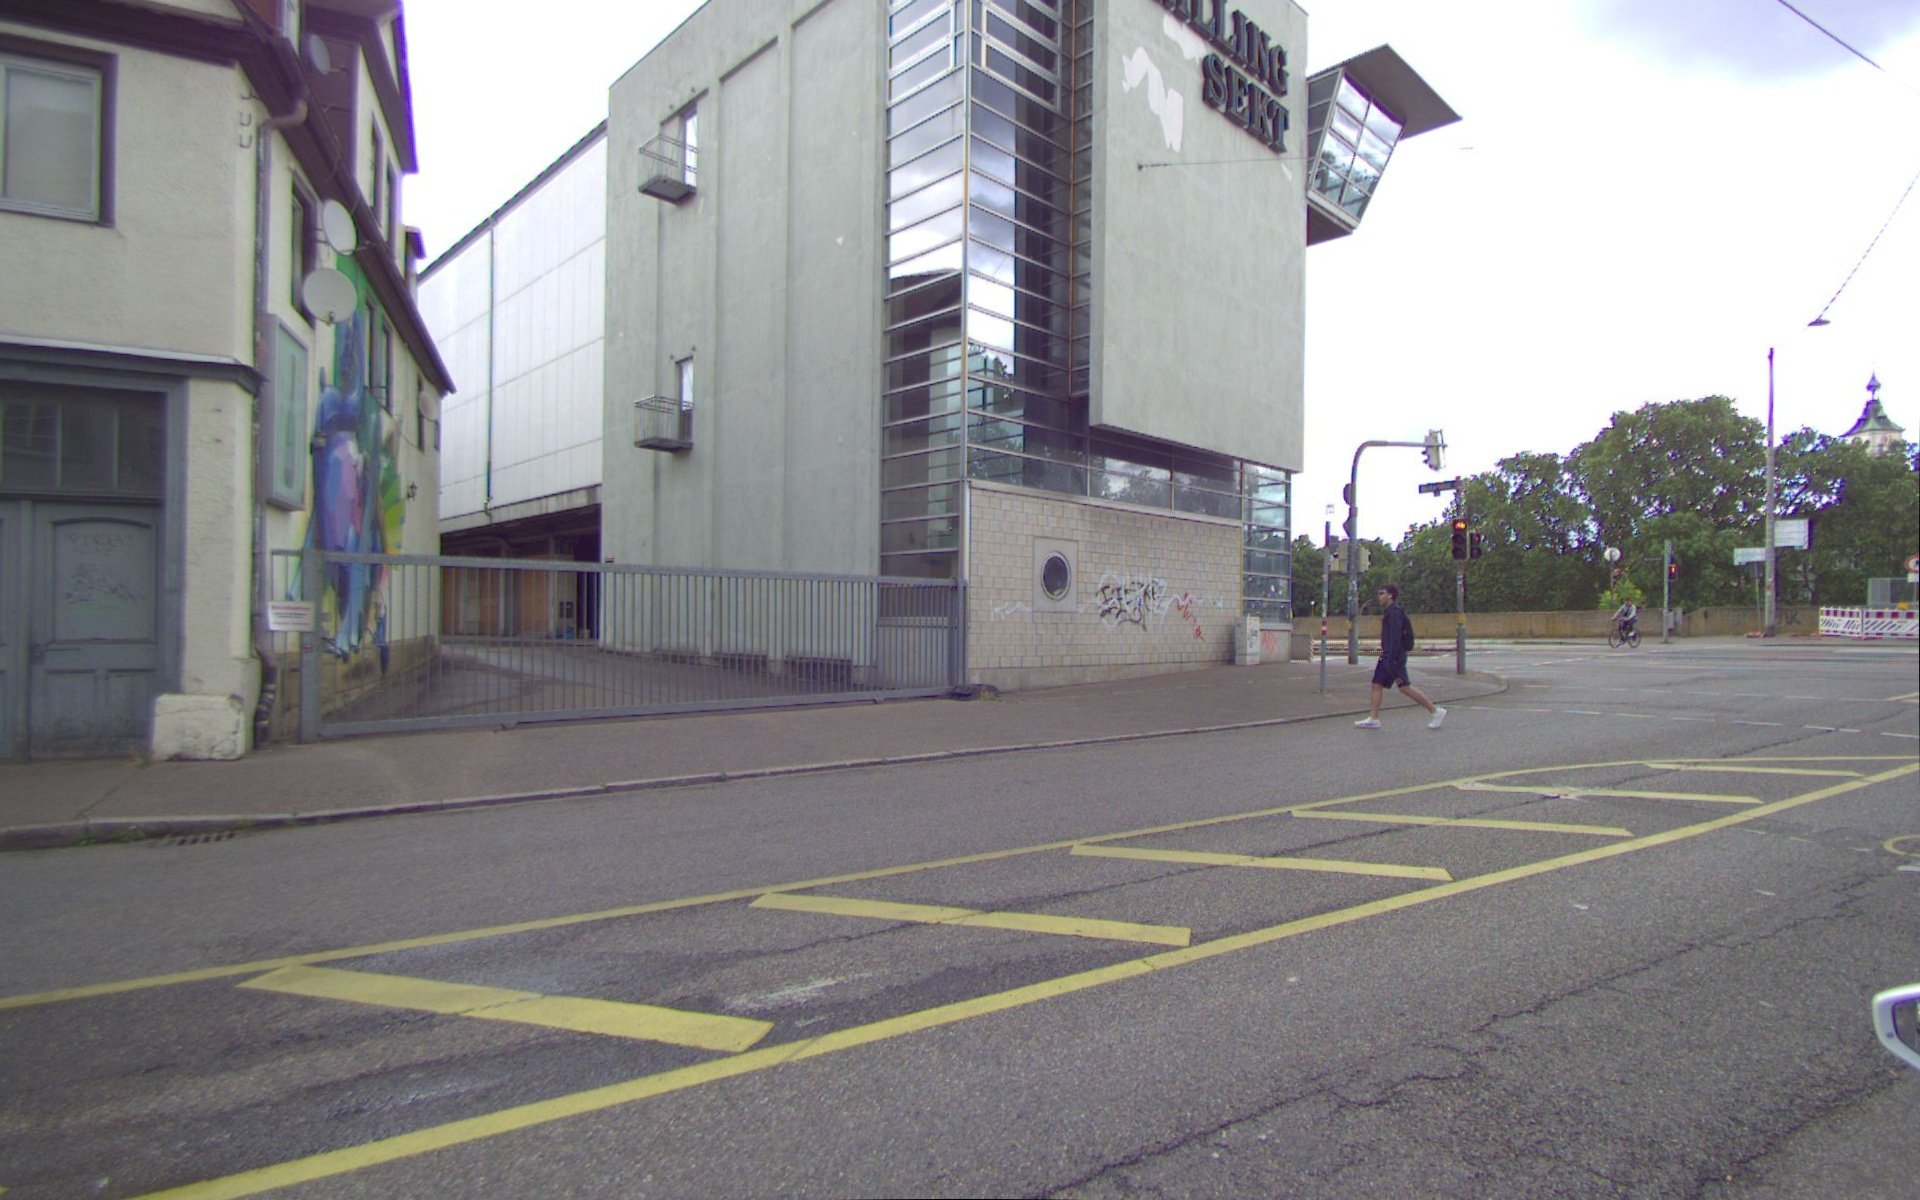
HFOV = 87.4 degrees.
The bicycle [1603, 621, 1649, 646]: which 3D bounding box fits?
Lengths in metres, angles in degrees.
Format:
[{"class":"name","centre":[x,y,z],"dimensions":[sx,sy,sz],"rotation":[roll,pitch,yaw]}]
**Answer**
[{"class":"bicycle","centre":[24.260,1.211,36.591],"dimensions":[1.855,0.904,0.539],"rotation":[1,-1,-26]}]

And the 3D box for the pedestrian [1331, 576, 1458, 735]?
[{"class":"pedestrian","centre":[5.550,0.661,12.855],"dimensions":[1.045,1.911,1.083],"rotation":[-1,1,-30]}]

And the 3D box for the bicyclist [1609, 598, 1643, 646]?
[{"class":"bicyclist","centre":[24.251,0.809,36.564],"dimensions":[0.800,1.723,0.721],"rotation":[1,-1,-25]}]
